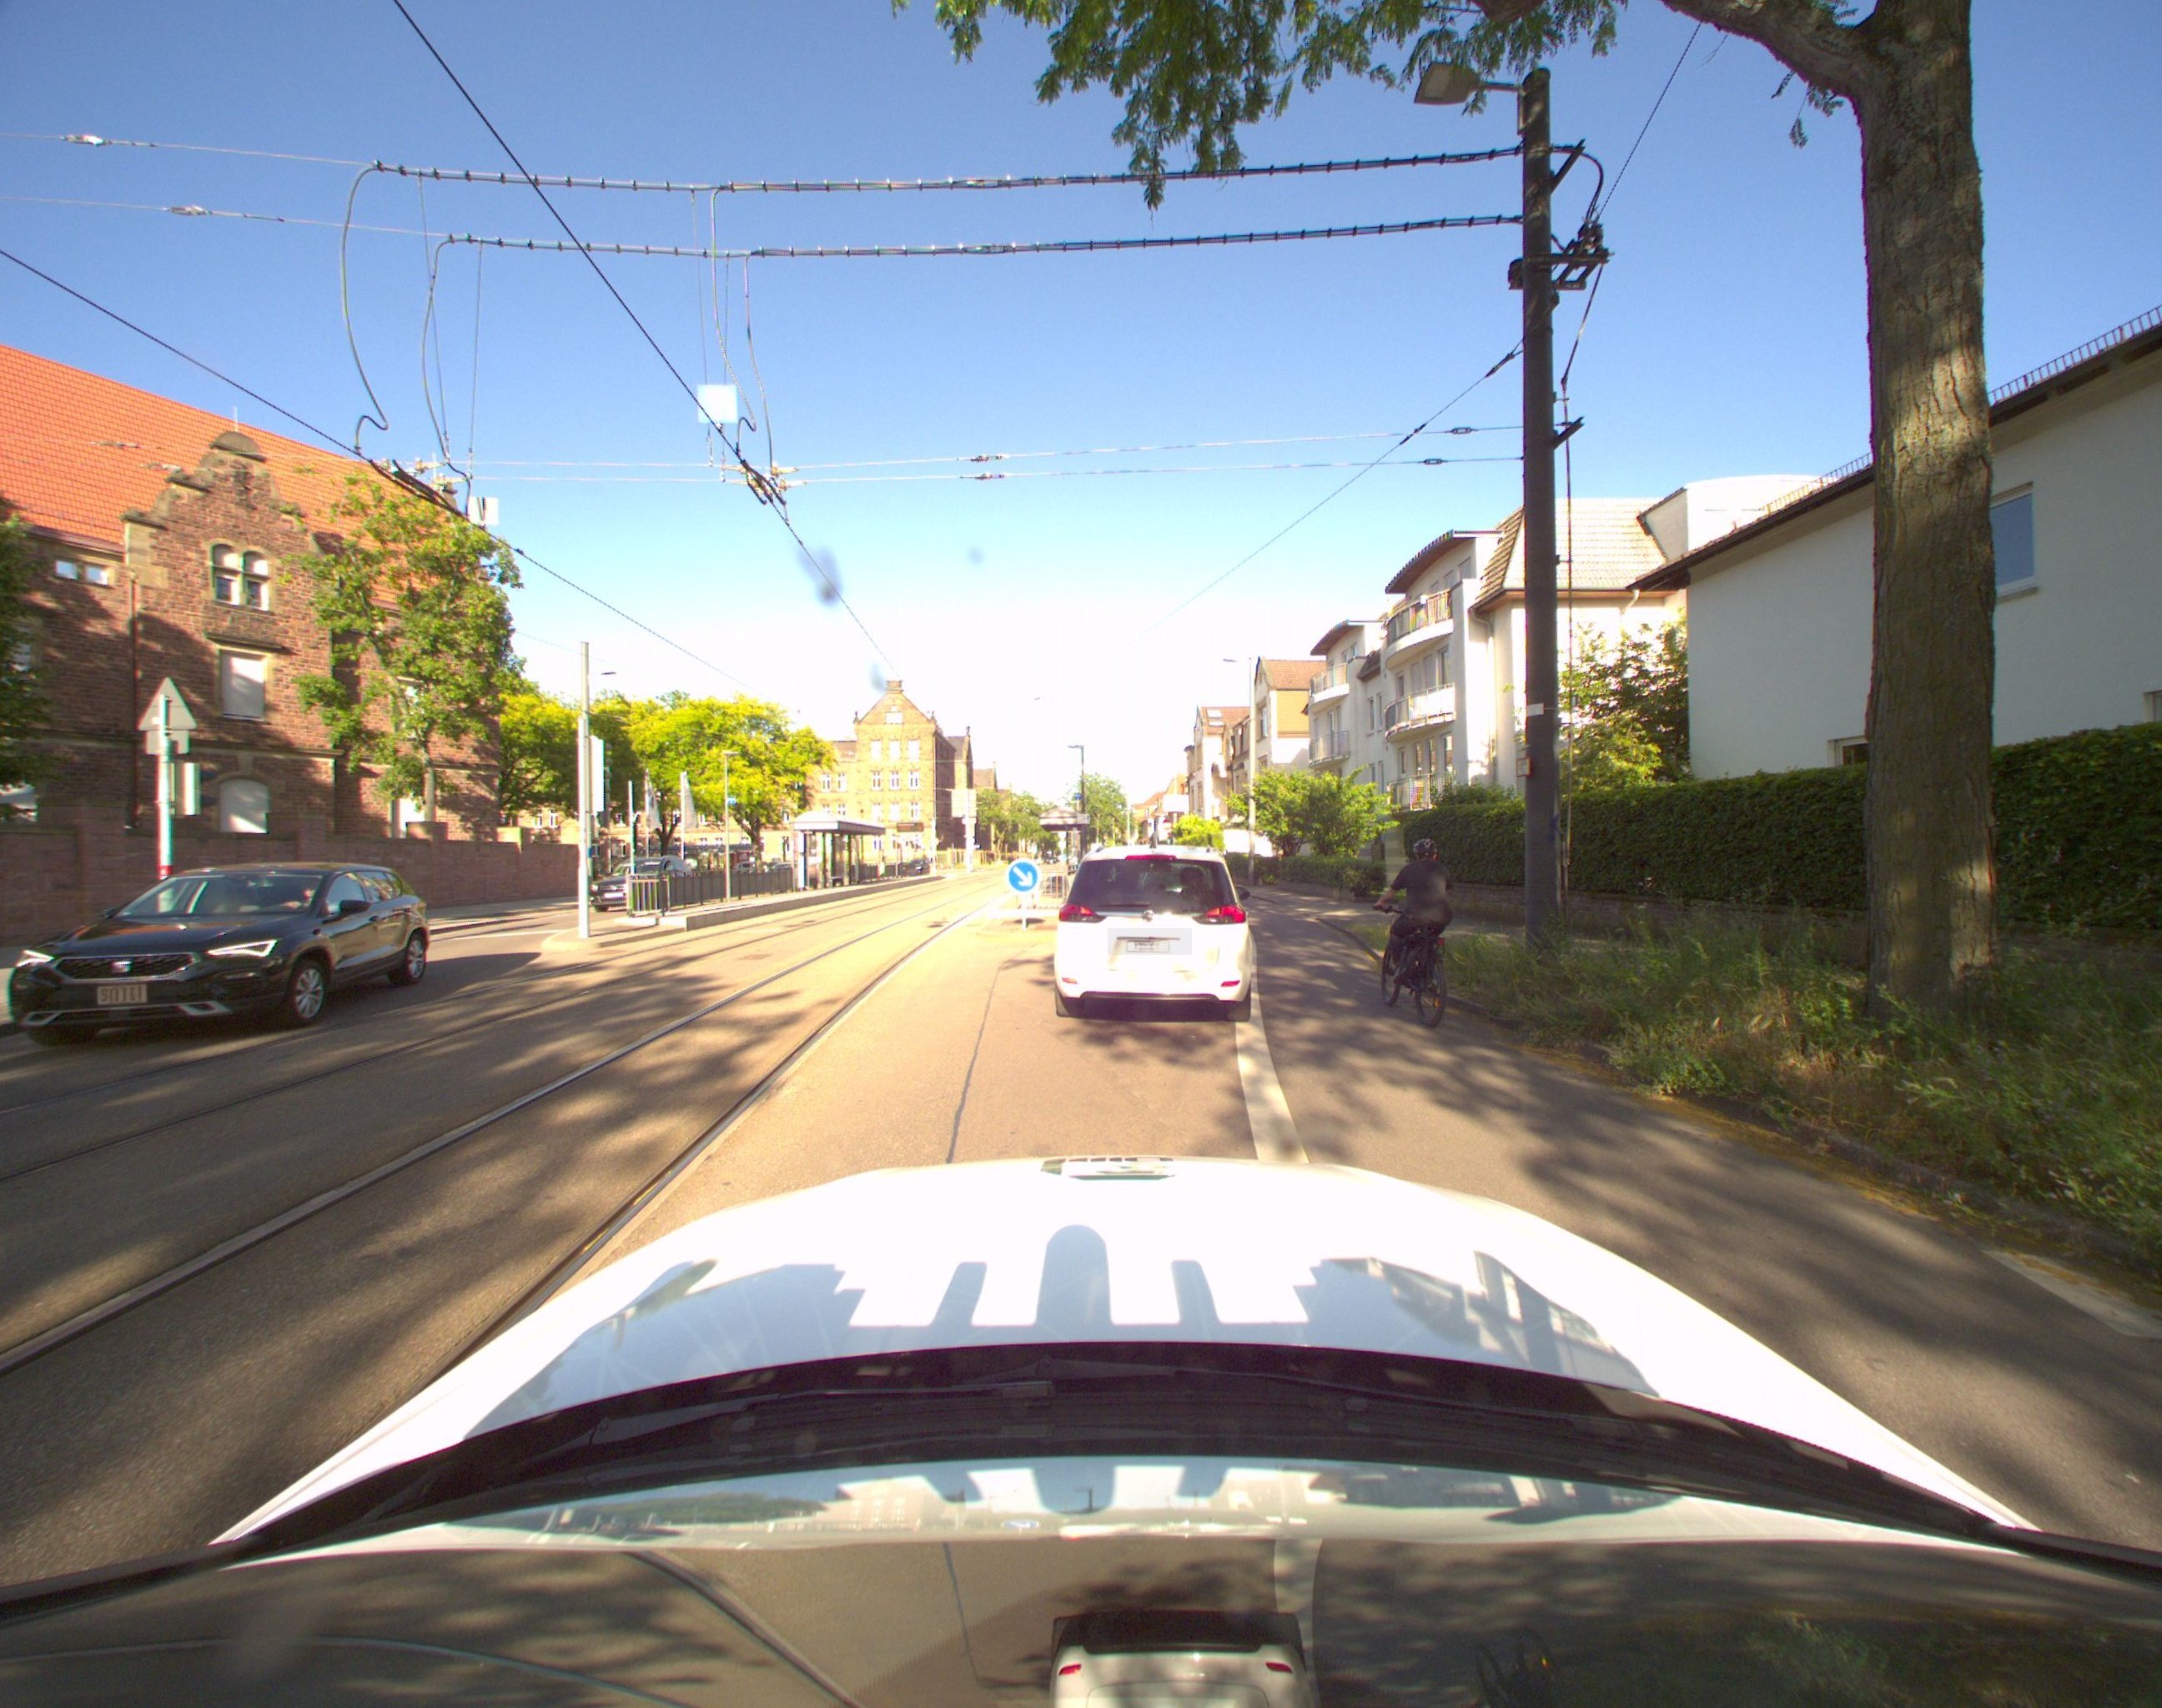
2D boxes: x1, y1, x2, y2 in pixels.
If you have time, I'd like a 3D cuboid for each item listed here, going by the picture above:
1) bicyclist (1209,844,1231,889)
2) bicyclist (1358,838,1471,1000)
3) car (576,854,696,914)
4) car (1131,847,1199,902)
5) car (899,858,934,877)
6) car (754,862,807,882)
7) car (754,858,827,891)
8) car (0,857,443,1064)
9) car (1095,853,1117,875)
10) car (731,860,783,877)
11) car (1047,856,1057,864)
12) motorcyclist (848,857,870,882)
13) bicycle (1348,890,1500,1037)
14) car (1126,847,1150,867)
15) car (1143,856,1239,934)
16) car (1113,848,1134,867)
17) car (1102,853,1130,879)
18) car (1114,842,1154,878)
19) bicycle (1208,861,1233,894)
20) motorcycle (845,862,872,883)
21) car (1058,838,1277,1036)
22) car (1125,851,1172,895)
[{"bbox_3d":[5.163,0.451,30.325,0.683,1.634,1.016,0,-1,2],"label":"bicyclist"},{"bbox_3d":[3.261,0.605,8.055,0.816,1.501,0.936,-1,-1,7],"label":"bicyclist"},{"bbox_3d":[-13.677,0.857,25.344,1.794,1.637,4.110,-2,0,-6],"label":"car"},{"bbox_3d":[2.641,0.639,26.359,1.770,1.632,3.879,0,-1,-1],"label":"car"},{"bbox_3d":[-13.785,1.102,68.378,1.986,1.546,4.001,0,-1,2],"label":"car"},{"bbox_3d":[-25.583,1.492,69.421,3.844,1.660,1.751,0,-1,1],"label":"car"},{"bbox_3d":[-13.727,0.935,38.823,1.878,1.415,4.622,-1,0,-1],"label":"car"},{"bbox_3d":[-8.825,0.872,8.751,1.928,1.616,4.089,-2,0,-21],"label":"car"},{"bbox_3d":[2.052,0.822,67.831,1.769,1.692,3.881,0,-1,1],"label":"car"},{"bbox_3d":[-29.692,1.290,74.737,4.050,1.522,1.878,0,-1,1],"label":"car"},{"bbox_3d":[-5.866,1.234,167.685,1.901,1.677,4.356,-1,0,-1],"label":"car"},{"bbox_3d":[-13.882,0.975,50.960,1.122,1.525,1.053,0,-1,-5],"label":"motorcyclist"},{"bbox_3d":[3.269,0.976,8.007,0.825,1.154,2.098,1,0,7],"label":"bicycle"},{"bbox_3d":[4.676,0.261,67.382,1.769,1.632,3.881,0,-1,1],"label":"car"},{"bbox_3d":[2.218,0.774,17.313,1.581,1.420,3.901,-1,0,1],"label":"car"},{"bbox_3d":[3.835,0.314,73.186,1.769,1.632,3.881,0,-1,1],"label":"car"},{"bbox_3d":[2.325,0.779,54.219,1.769,1.632,3.882,0,-1,2],"label":"car"},{"bbox_3d":[2.485,0.276,39.175,1.769,1.632,3.882,0,-1,1],"label":"car"},{"bbox_3d":[5.171,0.857,30.251,0.683,1.157,1.620,0,-1,2],"label":"bicycle"},{"bbox_3d":[-13.874,1.153,50.929,1.128,1.243,2.569,0,-1,-4],"label":"motorcycle"},{"bbox_3d":[0.728,0.705,8.777,1.829,1.642,3.918,0,-1,0],"label":"car"},{"bbox_3d":[2.630,0.737,32.505,1.768,1.632,3.883,0,-1,3],"label":"car"}]
